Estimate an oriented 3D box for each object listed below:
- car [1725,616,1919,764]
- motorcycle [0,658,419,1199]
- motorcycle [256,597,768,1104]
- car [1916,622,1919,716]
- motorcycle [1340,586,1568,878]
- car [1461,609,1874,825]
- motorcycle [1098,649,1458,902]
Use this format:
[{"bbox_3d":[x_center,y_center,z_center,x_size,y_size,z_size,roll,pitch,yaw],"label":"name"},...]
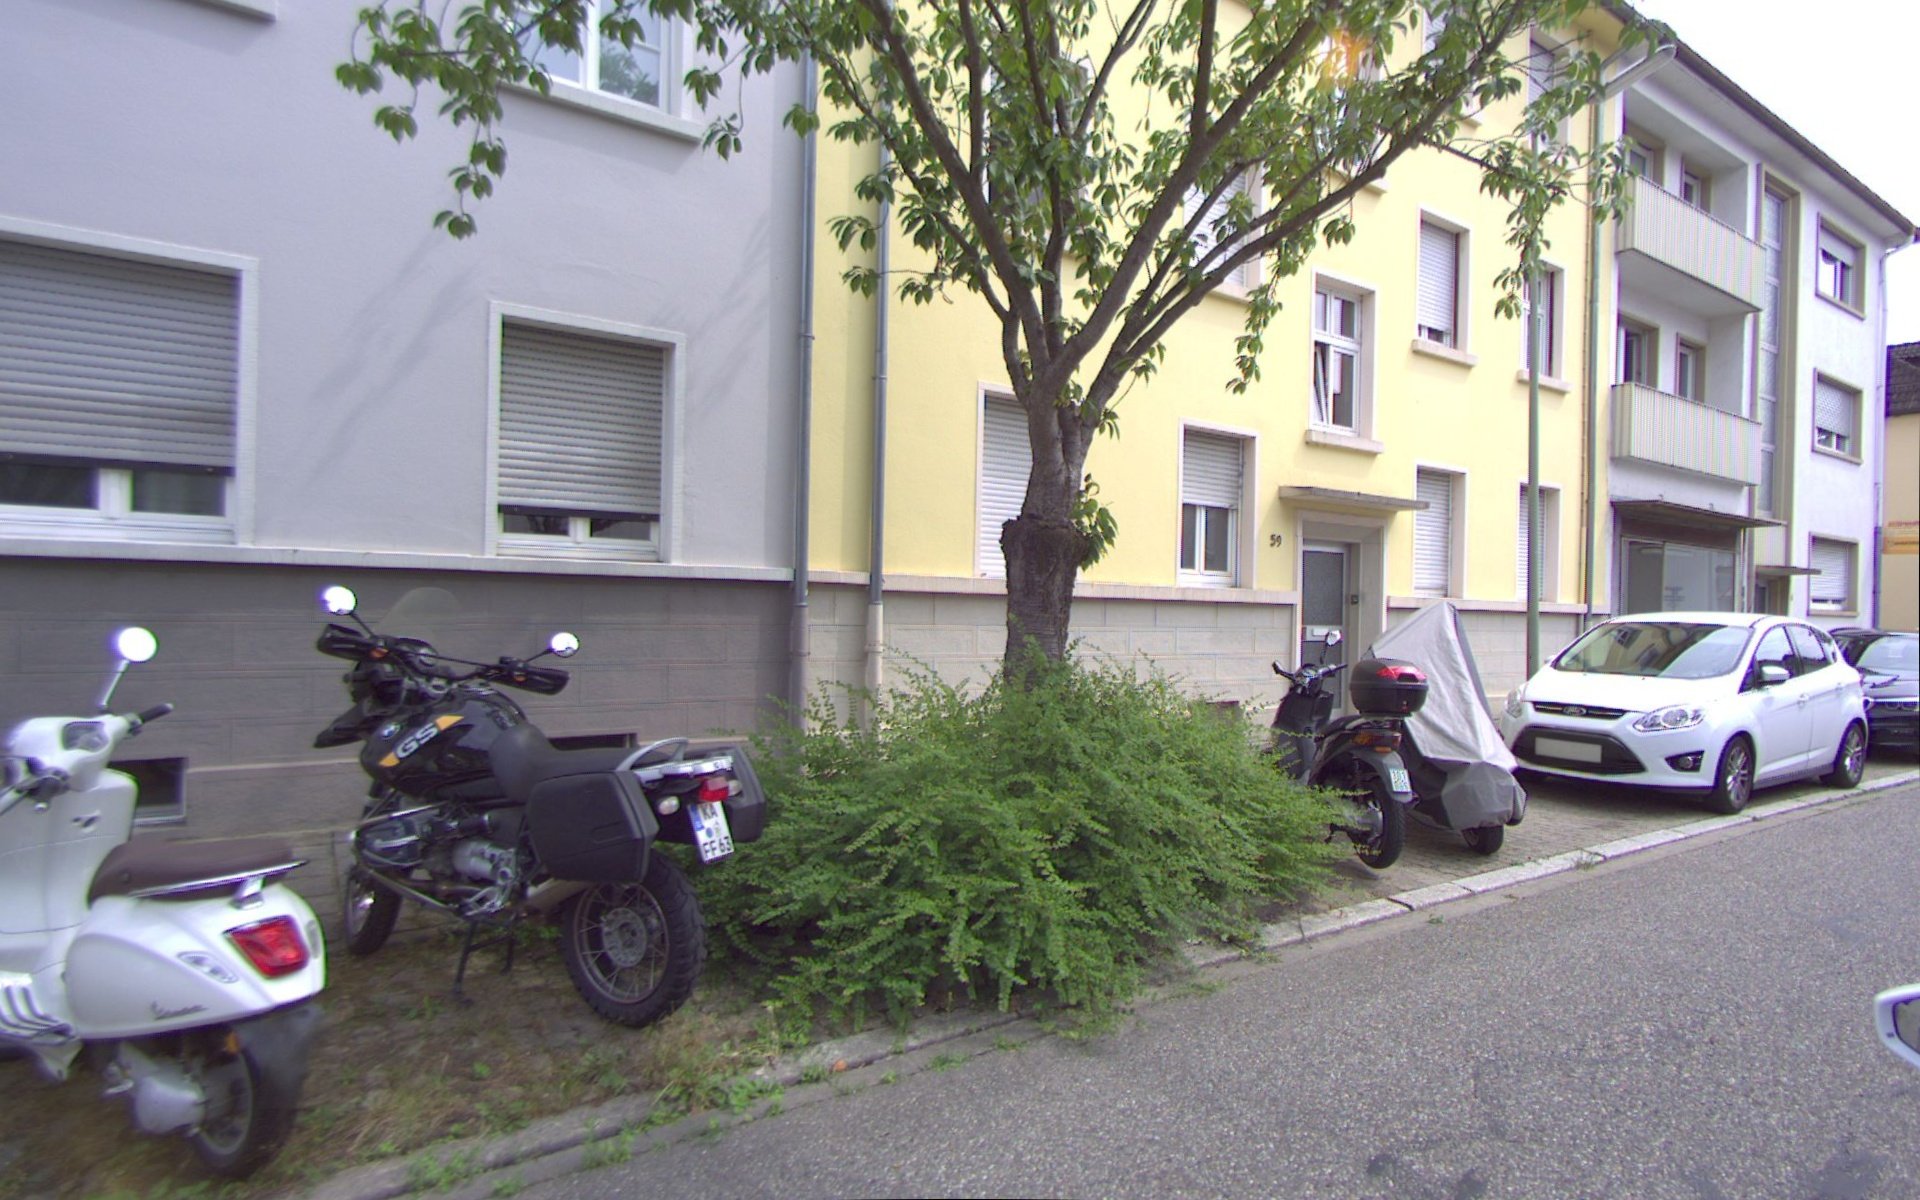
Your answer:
[{"bbox_3d":[11.709,1.047,12.681,4.761,1.512,1.780,2,0,-33],"label":"car"},{"bbox_3d":[-2.423,0.789,2.921,1.878,1.207,0.596,-1,-2,31],"label":"motorcycle"},{"bbox_3d":[-1.774,0.770,3.816,2.199,1.501,0.596,-1,-2,31],"label":"motorcycle"},{"bbox_3d":[18.731,1.207,17.618,4.335,1.602,1.907,2,-3,-33],"label":"car"},{"bbox_3d":[3.385,0.785,7.185,0.920,1.698,2.475,1,0,13],"label":"motorcycle"},{"bbox_3d":[6.633,0.922,9.287,4.212,1.577,1.746,2,-1,-34],"label":"car"},{"bbox_3d":[1.935,1.002,6.609,0.636,1.328,2.435,1,-3,-32],"label":"motorcycle"}]
